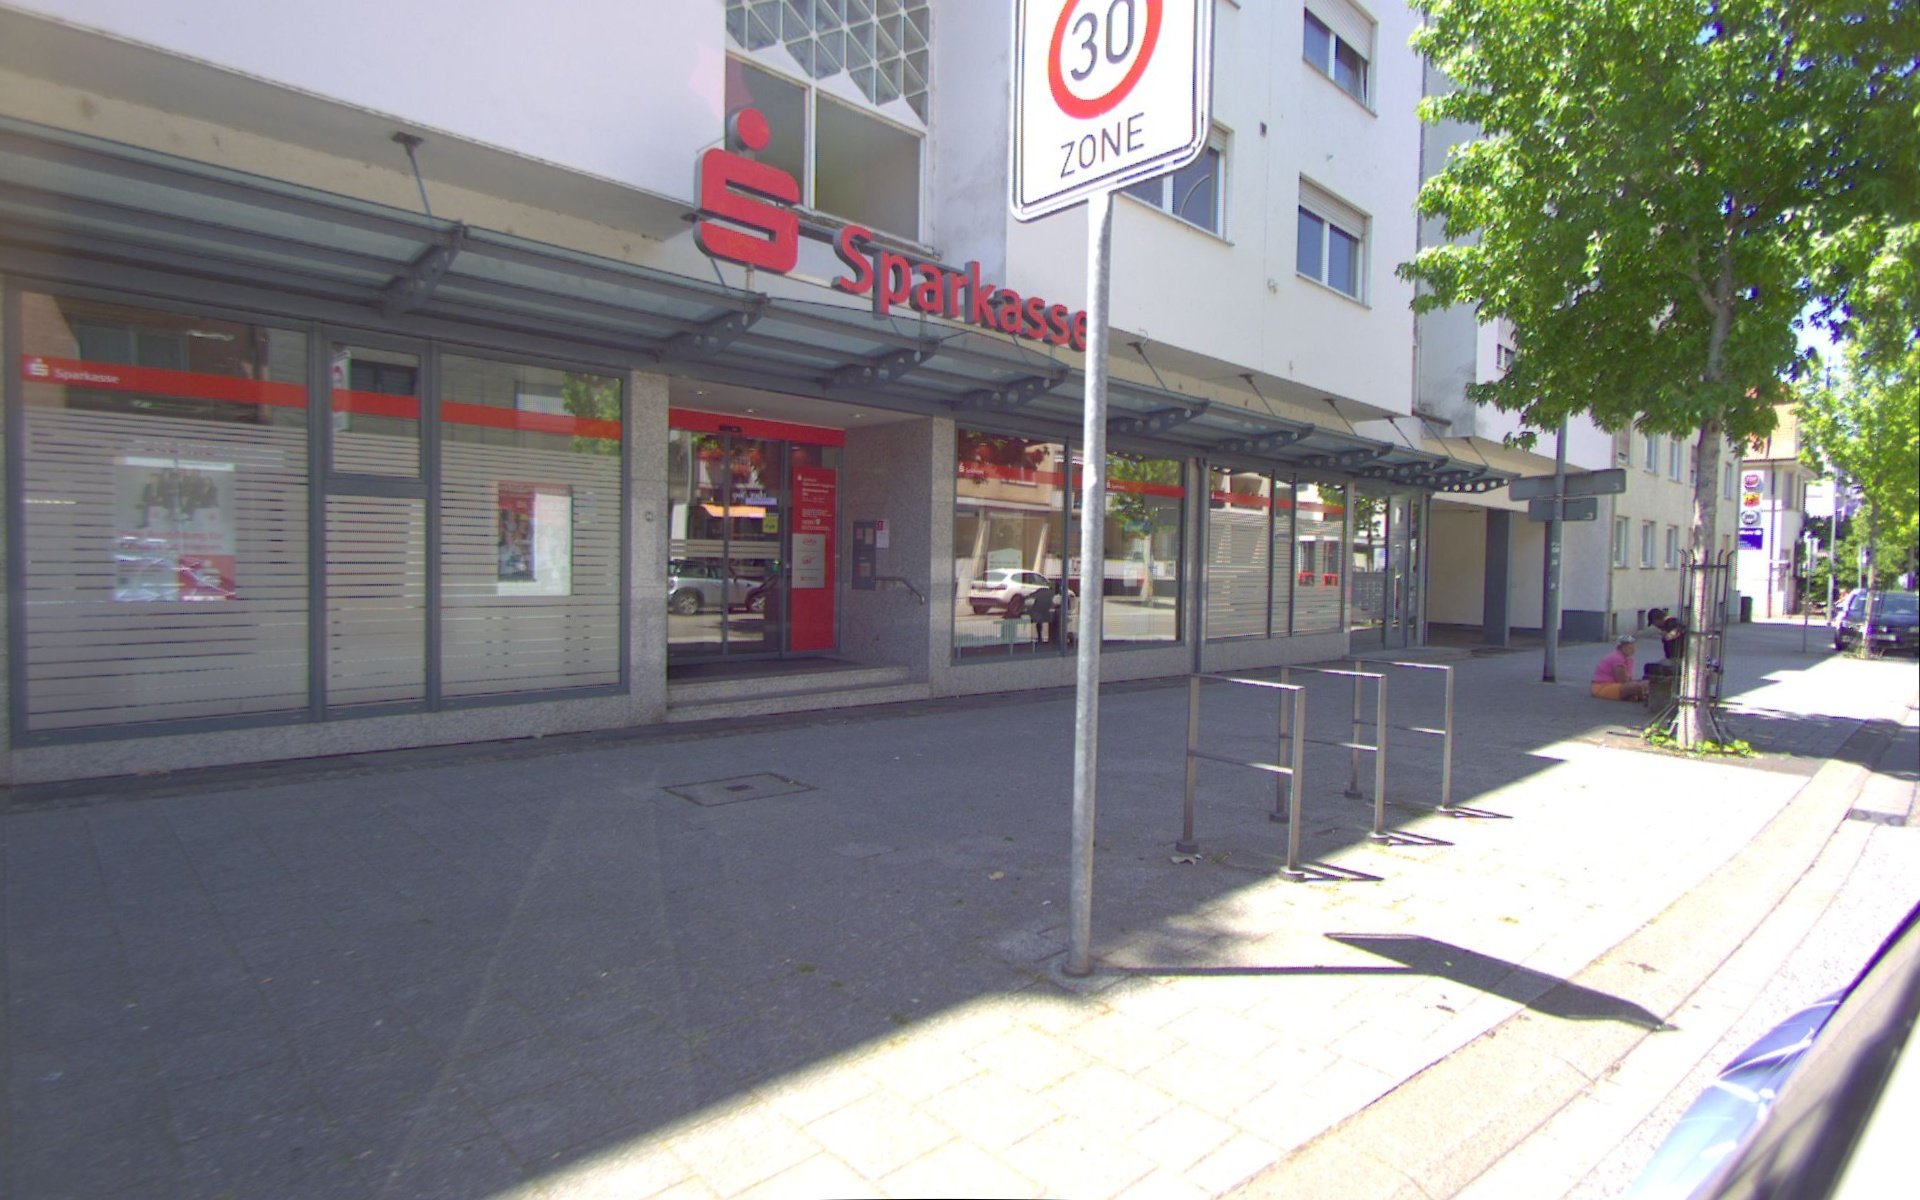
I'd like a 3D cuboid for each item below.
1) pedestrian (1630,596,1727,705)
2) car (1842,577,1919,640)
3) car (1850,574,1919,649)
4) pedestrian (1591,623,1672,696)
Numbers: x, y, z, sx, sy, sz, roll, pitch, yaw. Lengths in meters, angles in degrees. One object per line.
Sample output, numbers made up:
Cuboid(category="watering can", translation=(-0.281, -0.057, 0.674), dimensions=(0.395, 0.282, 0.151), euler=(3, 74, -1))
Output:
Cuboid(category="pedestrian", translation=(8.750, 0.592, 12.342), dimensions=(0.527, 1.255, 0.764), euler=(0, 2, -29))
Cuboid(category="car", translation=(28.257, 0.216, 30.994), dimensions=(1.689, 1.743, 4.069), euler=(3, 2, 43))
Cuboid(category="car", translation=(24.593, 0.273, 26.554), dimensions=(1.689, 1.742, 3.939), euler=(6, 5, 42))
Cuboid(category="pedestrian", translation=(8.713, 0.753, 13.151), dimensions=(0.527, 0.862, 0.681), euler=(0, 3, -29))
